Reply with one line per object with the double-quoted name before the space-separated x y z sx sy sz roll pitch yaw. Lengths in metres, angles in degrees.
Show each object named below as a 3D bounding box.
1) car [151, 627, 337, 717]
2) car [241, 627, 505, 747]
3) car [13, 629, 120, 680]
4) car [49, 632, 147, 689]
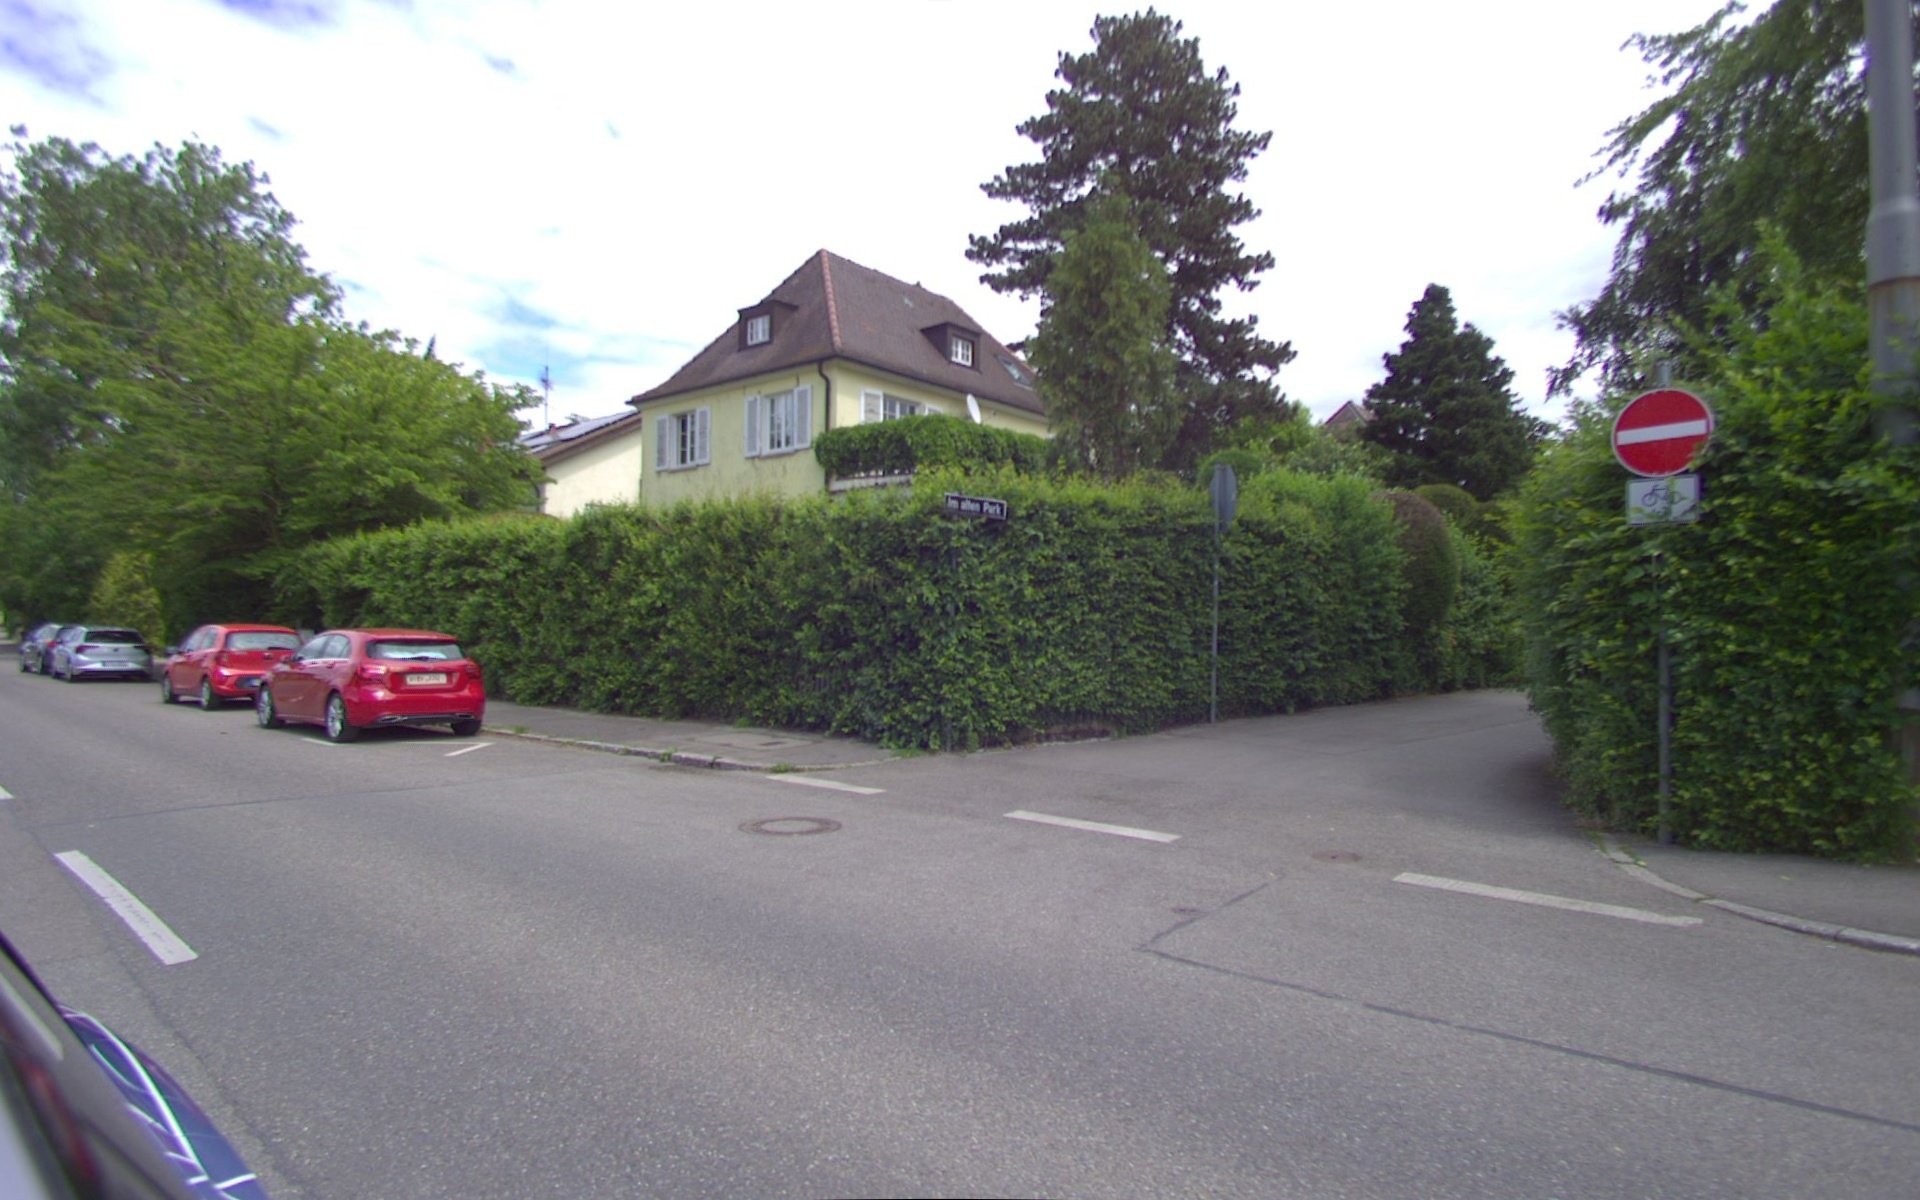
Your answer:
"car" -13.167 1.240 18.566 3.744 1.461 1.830 -1 -2 39
"car" -8.215 1.089 14.034 4.063 1.413 1.946 -1 -2 41
"car" -26.897 1.590 30.446 3.895 1.413 1.796 -1 -2 39
"car" -22.817 1.566 26.753 1.653 1.381 3.608 4 -4 -45
